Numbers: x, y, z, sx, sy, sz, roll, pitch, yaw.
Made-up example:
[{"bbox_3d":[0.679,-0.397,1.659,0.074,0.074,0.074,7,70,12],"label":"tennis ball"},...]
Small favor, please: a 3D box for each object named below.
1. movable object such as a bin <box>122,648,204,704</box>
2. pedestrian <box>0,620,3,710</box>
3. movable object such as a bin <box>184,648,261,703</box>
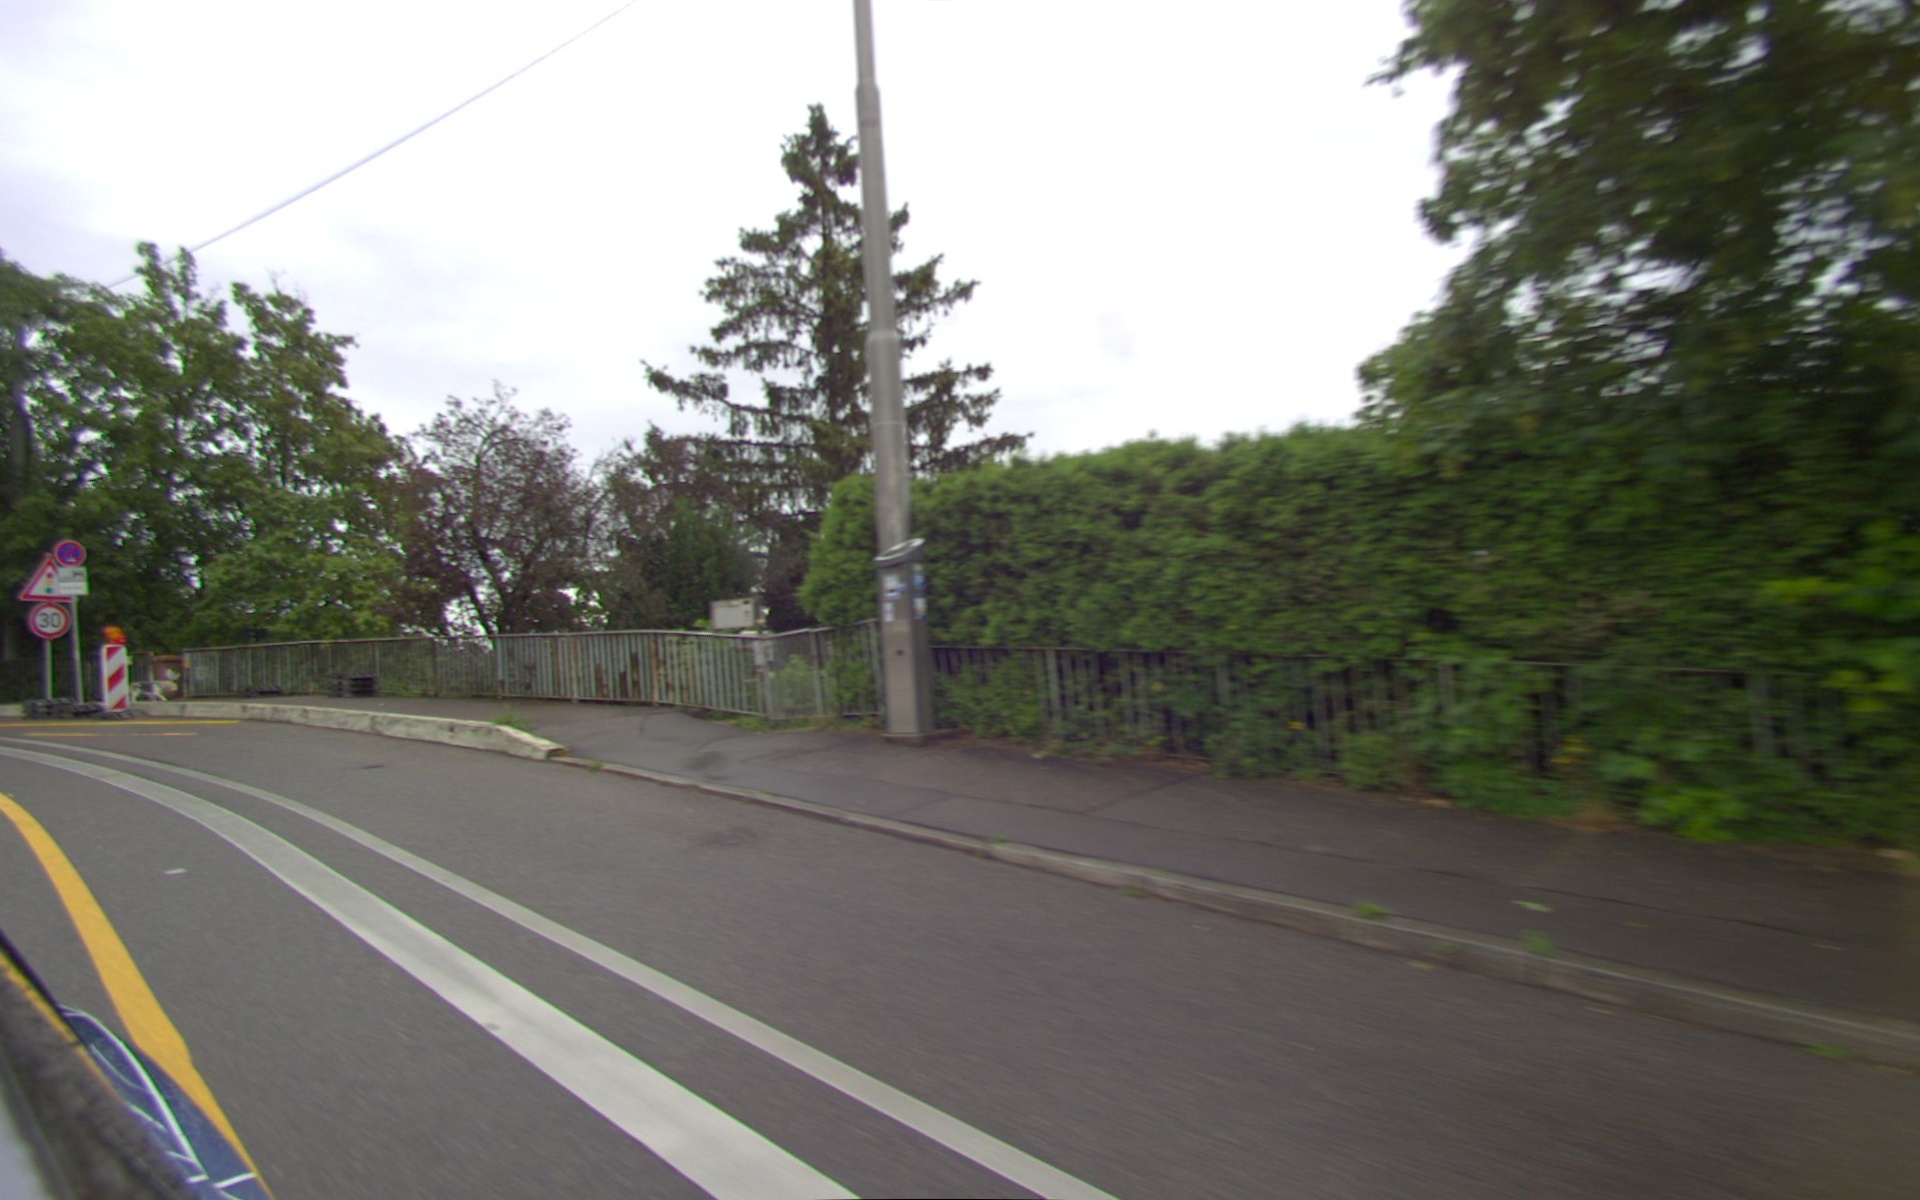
[{"bbox_3d":[-16.670,1.587,21.178,1.021,1.115,0.981,-3,-3,24],"label":"movable object such as a bin"},{"bbox_3d":[-19.521,1.293,19.716,0.971,1.781,0.921,-3,-2,15],"label":"pedestrian"},{"bbox_3d":[-16.045,1.641,22.038,1.021,1.115,0.981,-5,-4,24],"label":"movable object such as a bin"}]
